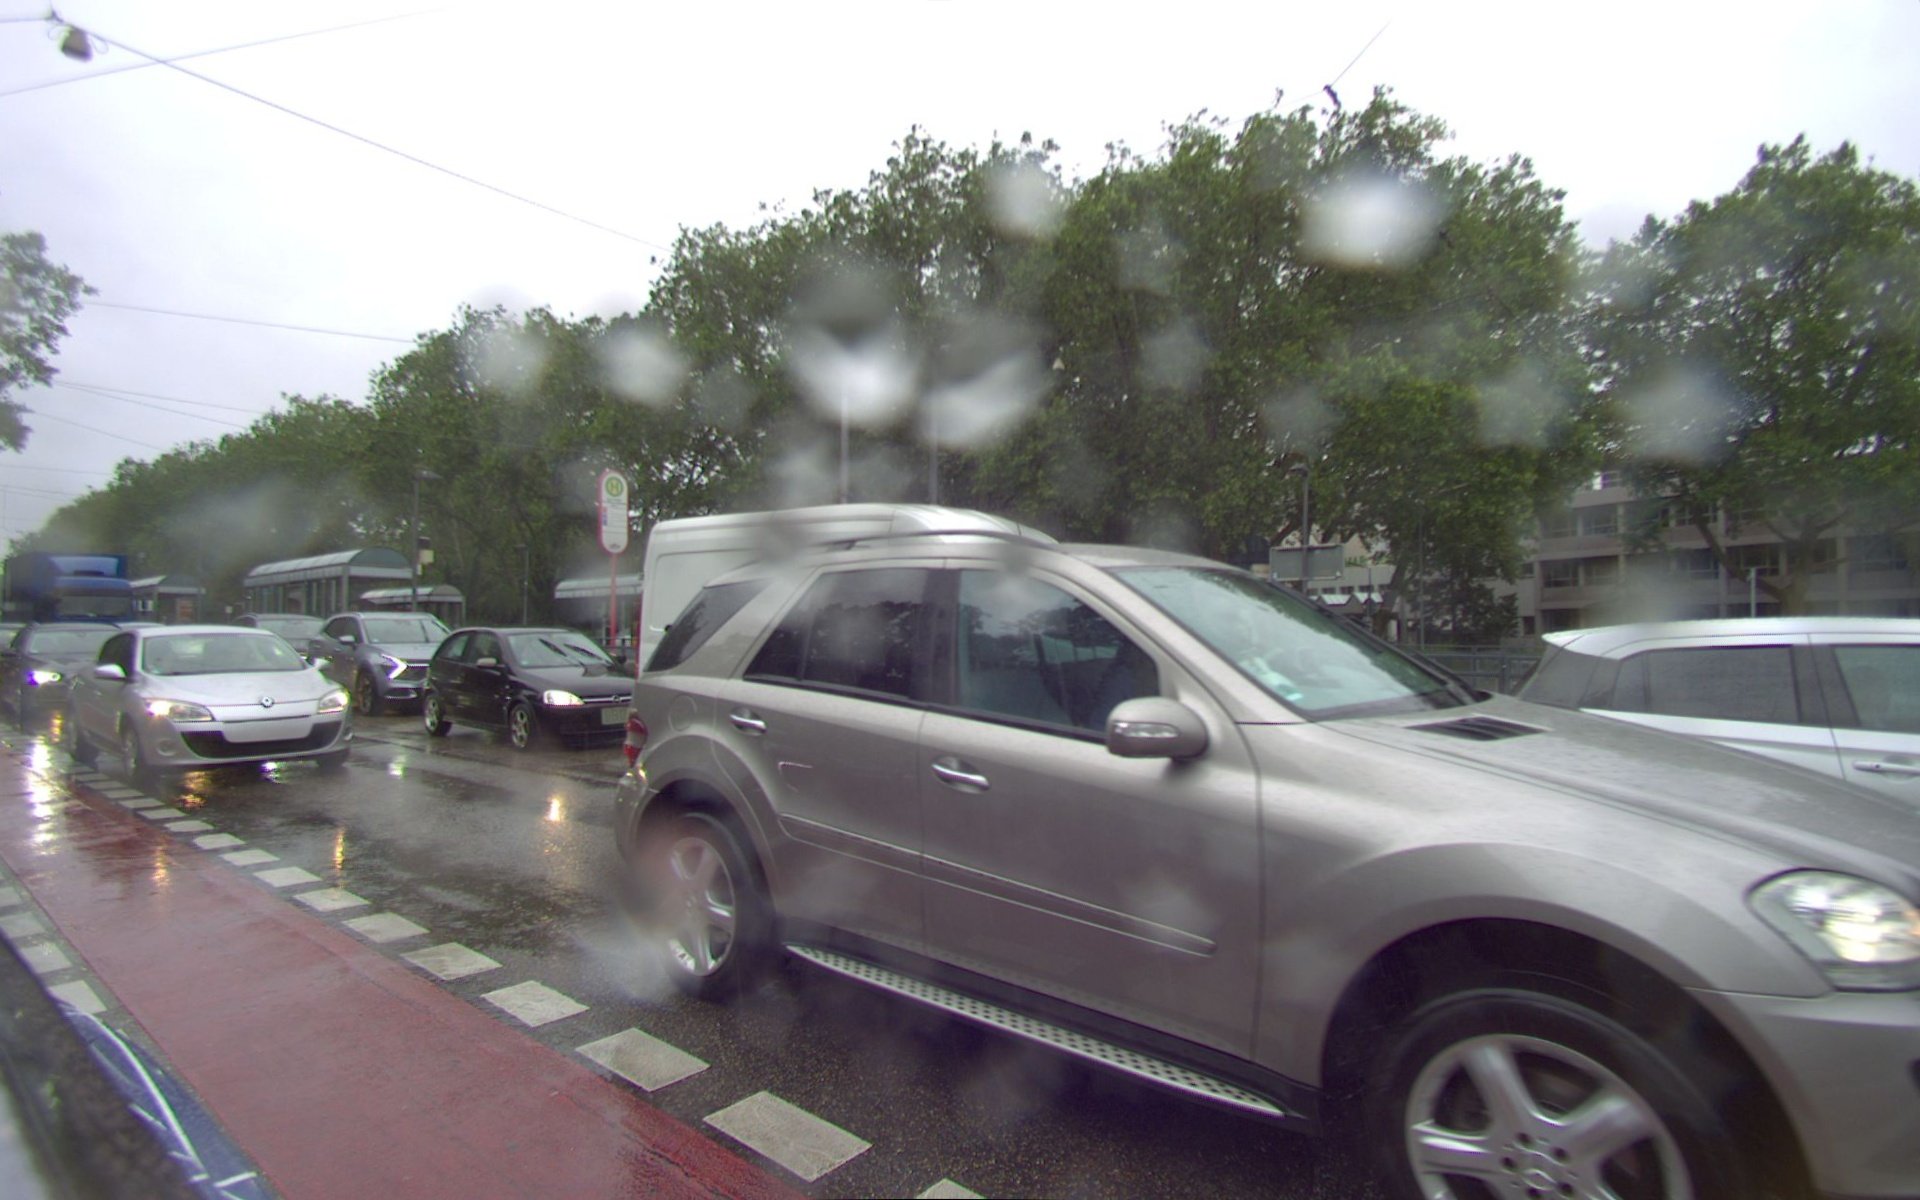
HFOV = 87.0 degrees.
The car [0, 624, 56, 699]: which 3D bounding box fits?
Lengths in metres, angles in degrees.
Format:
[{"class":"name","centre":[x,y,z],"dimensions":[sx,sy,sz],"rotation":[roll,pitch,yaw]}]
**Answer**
[{"class":"car","centre":[-23.001,1.455,24.076],"dimensions":[4.191,1.659,1.887],"rotation":[-3,-2,43]}]

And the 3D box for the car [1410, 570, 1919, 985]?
[{"class":"car","centre":[4.426,0.692,4.469],"dimensions":[4.074,1.599,1.782],"rotation":[-3,-3,43]}]

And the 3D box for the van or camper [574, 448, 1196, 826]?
[{"class":"van or camper","centre":[-1.048,0.347,9.422],"dimensions":[5.965,2.490,2.153],"rotation":[-2,-2,40]}]

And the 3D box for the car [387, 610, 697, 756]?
[{"class":"car","centre":[-5.414,0.964,12.799],"dimensions":[4.553,1.525,1.763],"rotation":[-3,-2,41]}]

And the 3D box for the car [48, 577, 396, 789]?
[{"class":"car","centre":[-7.757,0.768,10.492],"dimensions":[4.263,1.755,1.951],"rotation":[-3,-2,40]}]

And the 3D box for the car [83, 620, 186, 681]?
[{"class":"car","centre":[-24.419,1.477,29.893],"dimensions":[4.191,1.659,1.887],"rotation":[-3,-2,44]}]

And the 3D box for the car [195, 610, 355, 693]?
[{"class":"car","centre":[-15.257,1.116,22.474],"dimensions":[4.187,1.659,1.889],"rotation":[-3,-2,40]}]

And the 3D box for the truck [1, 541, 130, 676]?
[{"class":"truck","centre":[-31.795,0.418,35.854],"dimensions":[8.349,4.309,2.386],"rotation":[-3,-2,41]}]

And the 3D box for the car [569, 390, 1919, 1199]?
[{"class":"car","centre":[0.697,0.561,3.607],"dimensions":[4.676,1.659,1.889],"rotation":[-3,-2,40]}]

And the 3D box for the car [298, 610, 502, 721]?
[{"class":"car","centre":[-9.555,1.051,17.117],"dimensions":[4.247,1.647,1.823],"rotation":[-3,-2,43]}]

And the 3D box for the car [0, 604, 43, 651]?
[{"class":"car","centre":[-46.393,1.308,49.130],"dimensions":[5.453,2.166,2.313],"rotation":[-1,0,43]}]

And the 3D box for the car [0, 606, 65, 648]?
[{"class":"car","centre":[-40.679,1.149,44.136],"dimensions":[3.998,1.728,1.973],"rotation":[-1,0,41]}]

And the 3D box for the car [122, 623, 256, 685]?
[{"class":"car","centre":[-19.820,1.366,25.962],"dimensions":[4.187,1.418,1.889],"rotation":[-3,-2,40]}]

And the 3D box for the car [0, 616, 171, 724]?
[{"class":"car","centre":[-14.855,1.109,16.967],"dimensions":[4.667,1.561,1.887],"rotation":[-3,-2,43]}]
